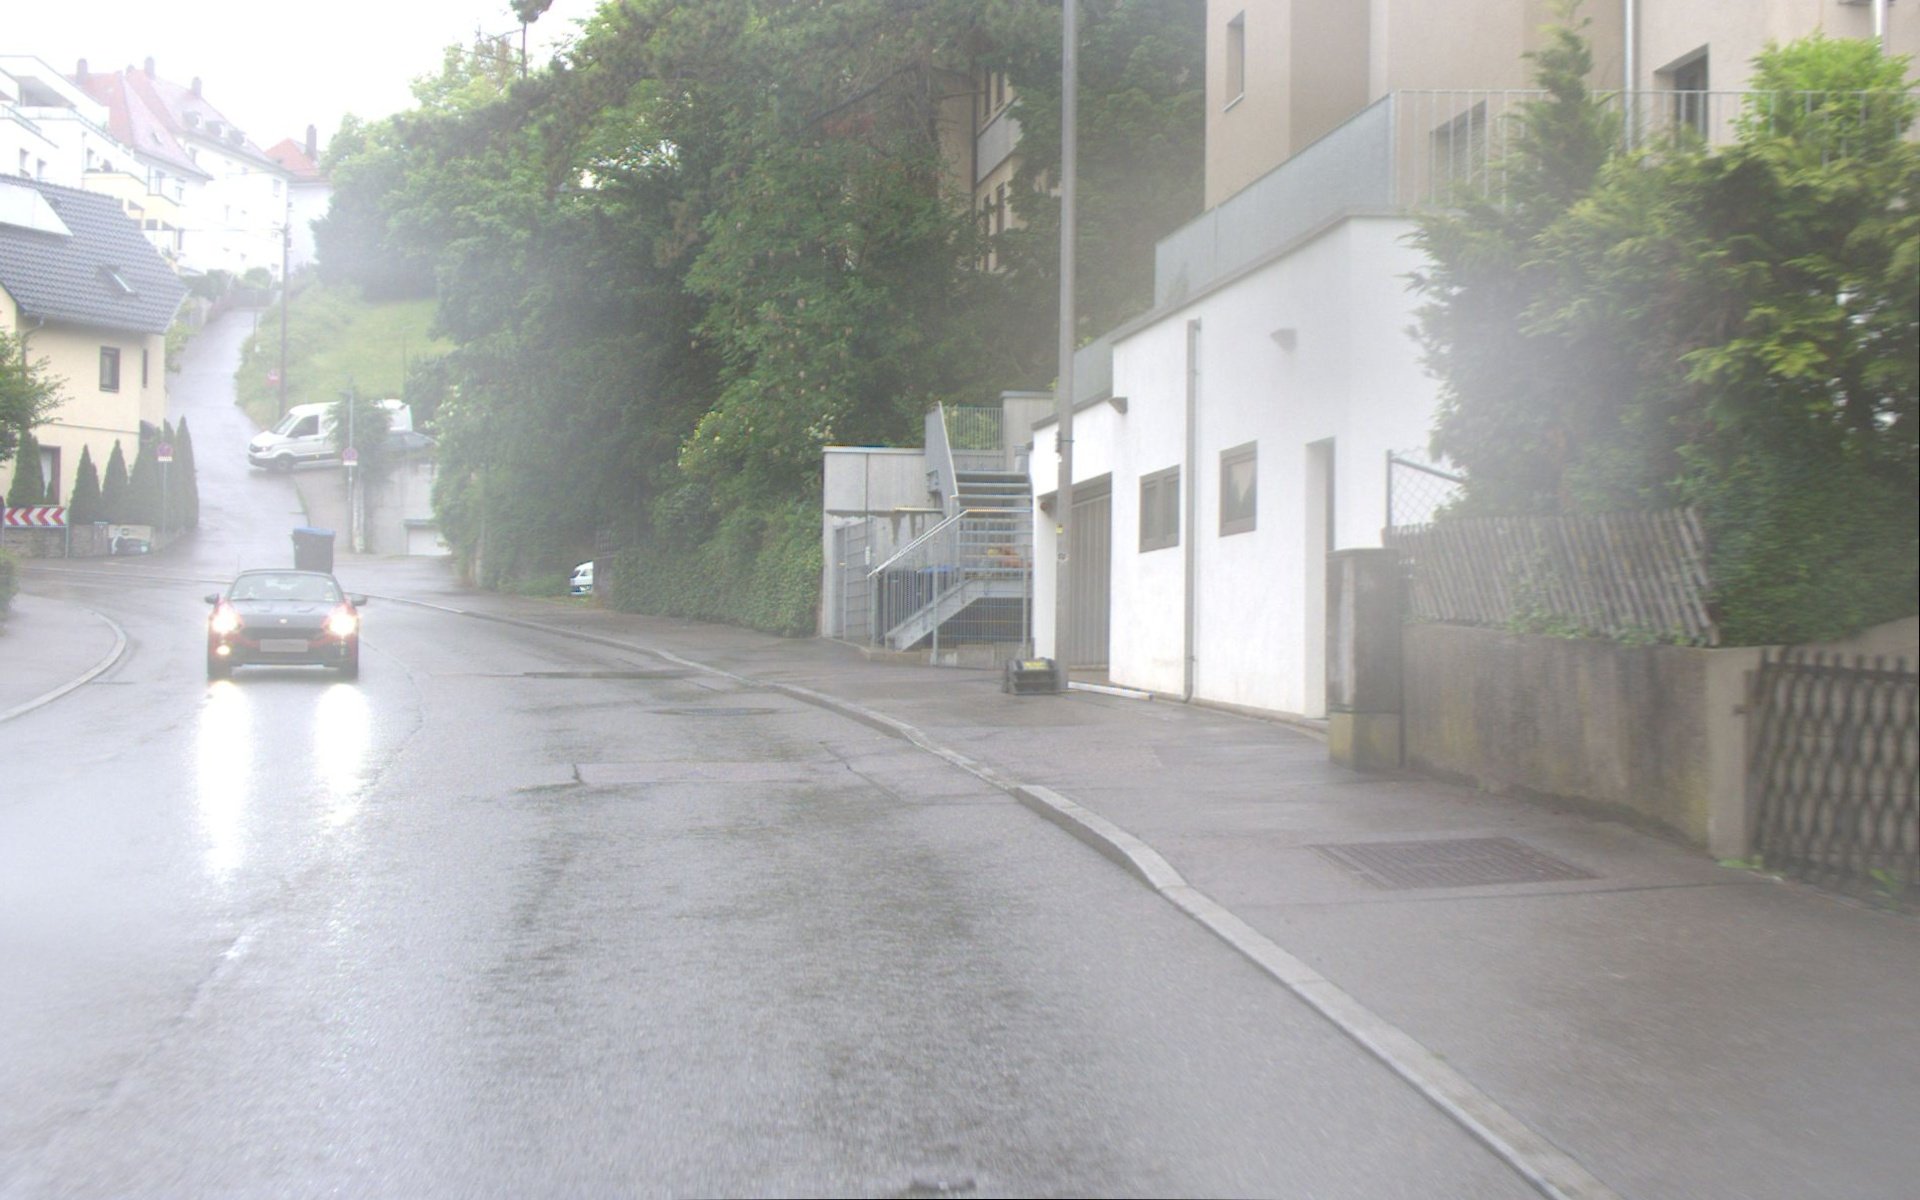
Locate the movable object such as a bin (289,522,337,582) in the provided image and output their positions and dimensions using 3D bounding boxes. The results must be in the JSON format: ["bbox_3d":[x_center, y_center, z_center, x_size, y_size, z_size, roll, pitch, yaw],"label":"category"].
[{"bbox_3d":[-16.066,-1.201,85.349,1.081,1.437,1.458,2,1,-12],"label":"movable object such as a bin"}]

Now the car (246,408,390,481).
[{"bbox_3d":[-23.519,-5.693,125.929,4.941,2.560,1.905,-2,2,-18],"label":"car"}]

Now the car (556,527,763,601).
[{"bbox_3d":[-6.475,-0.793,73.866,4.142,1.471,1.905,-1,2,-15],"label":"car"}]

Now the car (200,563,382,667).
[{"bbox_3d":[-7.958,0.150,41.170,1.679,1.142,4.001,0,1,-4],"label":"car"}]

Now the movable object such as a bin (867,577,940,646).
[{"bbox_3d":[-0.791,0.152,48.021,0.874,0.938,0.746,0,1,-13],"label":"movable object such as a bin"}]
